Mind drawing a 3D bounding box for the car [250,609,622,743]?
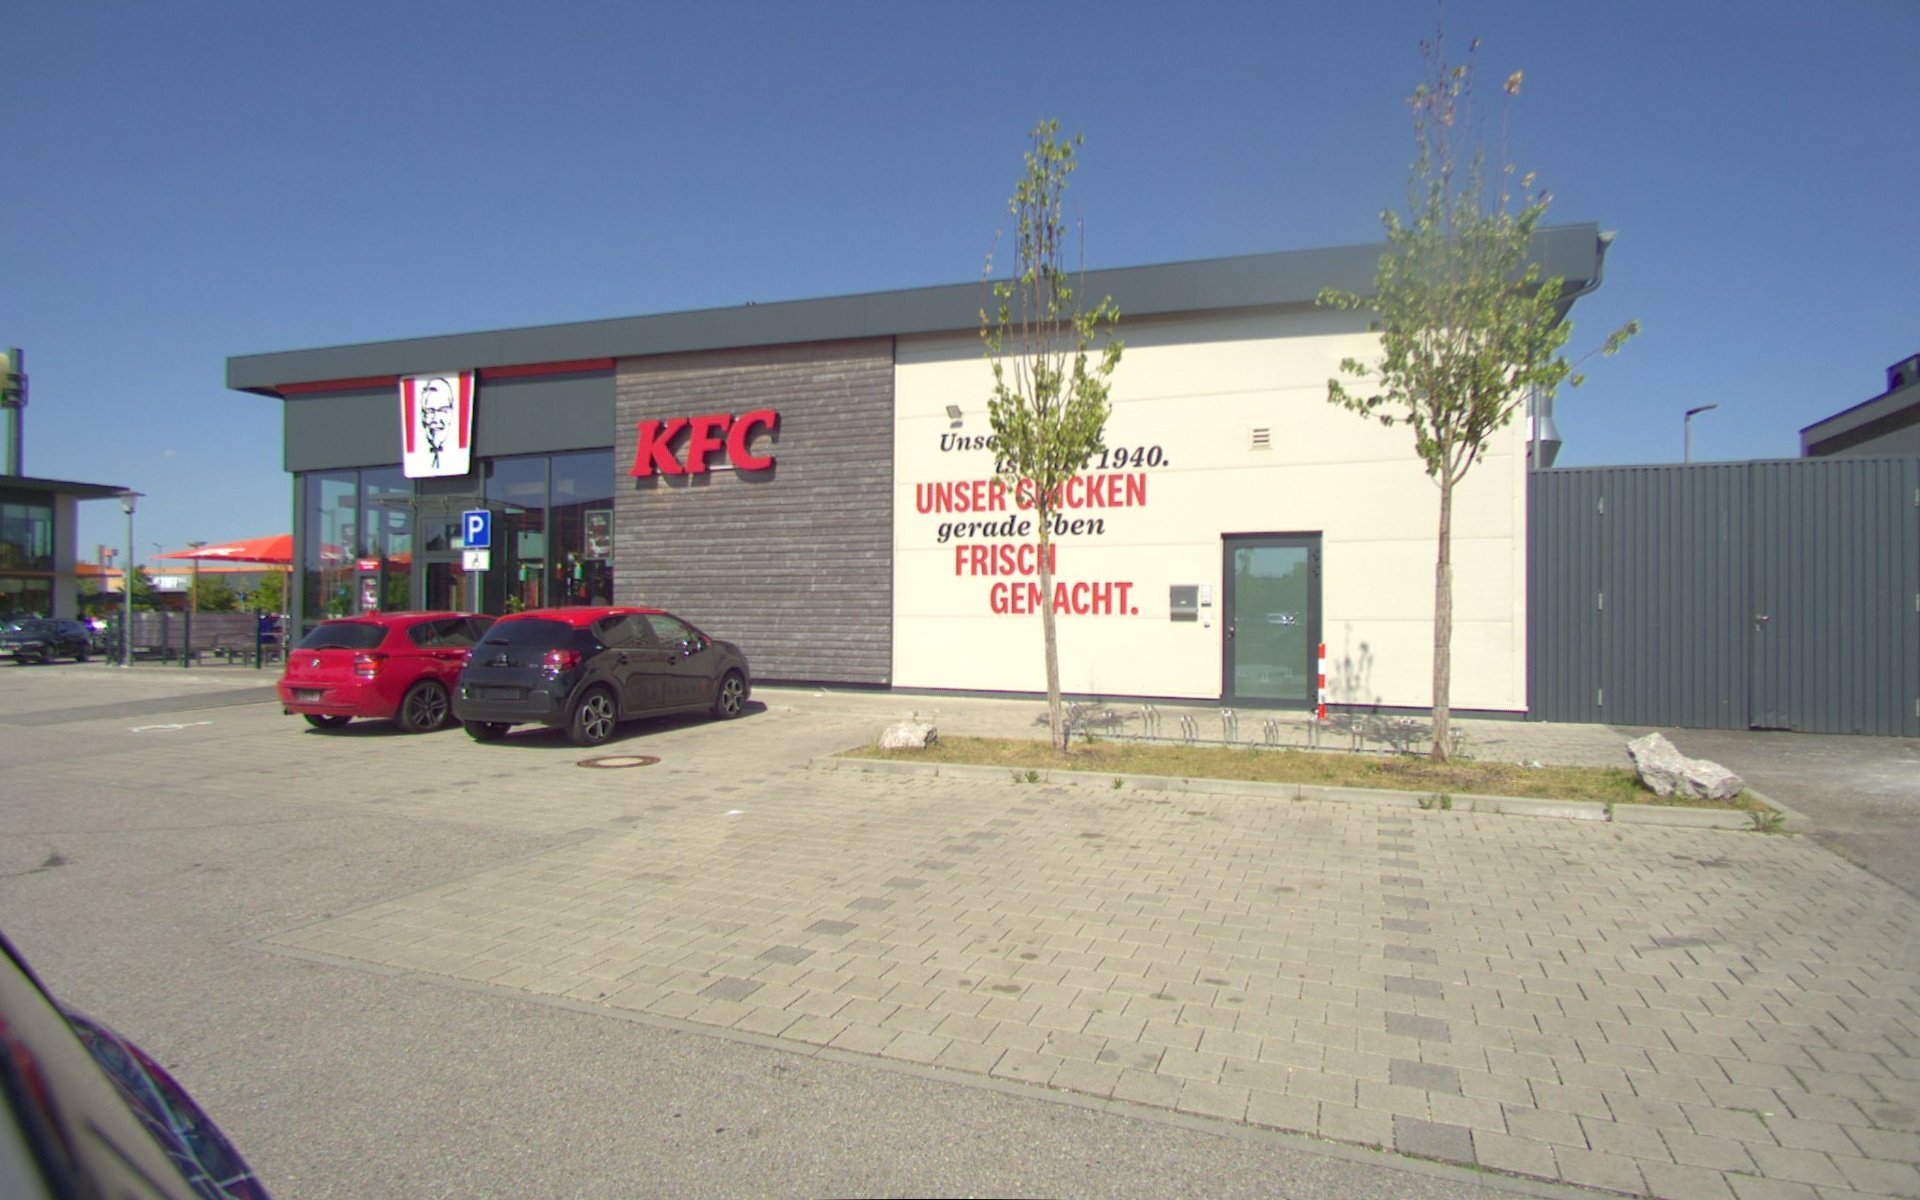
[{"bbox_3d":[-6.580,0.855,13.337,1.727,1.423,4.373,-1,-1,20],"label":"car"}]

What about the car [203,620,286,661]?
[{"bbox_3d":[-27.239,1.521,38.677,1.804,1.471,4.599,0,-2,-25],"label":"car"}]

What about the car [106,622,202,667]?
[{"bbox_3d":[-28.324,1.530,35.698,1.805,1.471,4.384,0,-2,-27],"label":"car"}]

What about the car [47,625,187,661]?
[{"bbox_3d":[-38.613,1.949,46.513,4.564,1.498,1.902,0,-1,-22],"label":"car"}]

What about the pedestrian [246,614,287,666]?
[{"bbox_3d":[-17.561,1.009,25.625,0.606,1.283,0.623,-1,-2,6],"label":"pedestrian"}]

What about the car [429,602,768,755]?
[{"bbox_3d":[-4.093,0.796,12.154,1.728,1.518,3.880,-1,-1,21],"label":"car"}]

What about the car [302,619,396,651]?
[{"bbox_3d":[-31.259,1.792,51.908,3.930,1.564,1.760,0,-2,-25],"label":"car"}]

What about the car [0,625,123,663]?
[{"bbox_3d":[-39.141,1.880,43.472,4.564,1.498,1.902,0,-1,-22],"label":"car"}]

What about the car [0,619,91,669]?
[{"bbox_3d":[-29.870,1.398,32.381,1.941,1.498,4.799,0,-2,-25],"label":"car"}]

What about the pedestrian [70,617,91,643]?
[{"bbox_3d":[-54.481,1.841,62.713,0.691,1.571,0.723,-1,-2,-6],"label":"pedestrian"}]

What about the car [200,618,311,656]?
[{"bbox_3d":[-33.442,1.730,48.169,4.043,1.687,1.819,0,-1,-22],"label":"car"}]

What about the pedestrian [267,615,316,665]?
[{"bbox_3d":[-17.425,1.042,26.394,0.677,1.283,0.840,-1,-2,6],"label":"pedestrian"}]

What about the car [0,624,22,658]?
[{"bbox_3d":[-46.955,1.972,48.510,1.687,1.625,4.049,0,-2,-24],"label":"car"}]

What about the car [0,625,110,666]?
[{"bbox_3d":[-35.840,1.740,39.102,4.206,1.498,1.819,0,-1,-22],"label":"car"}]
